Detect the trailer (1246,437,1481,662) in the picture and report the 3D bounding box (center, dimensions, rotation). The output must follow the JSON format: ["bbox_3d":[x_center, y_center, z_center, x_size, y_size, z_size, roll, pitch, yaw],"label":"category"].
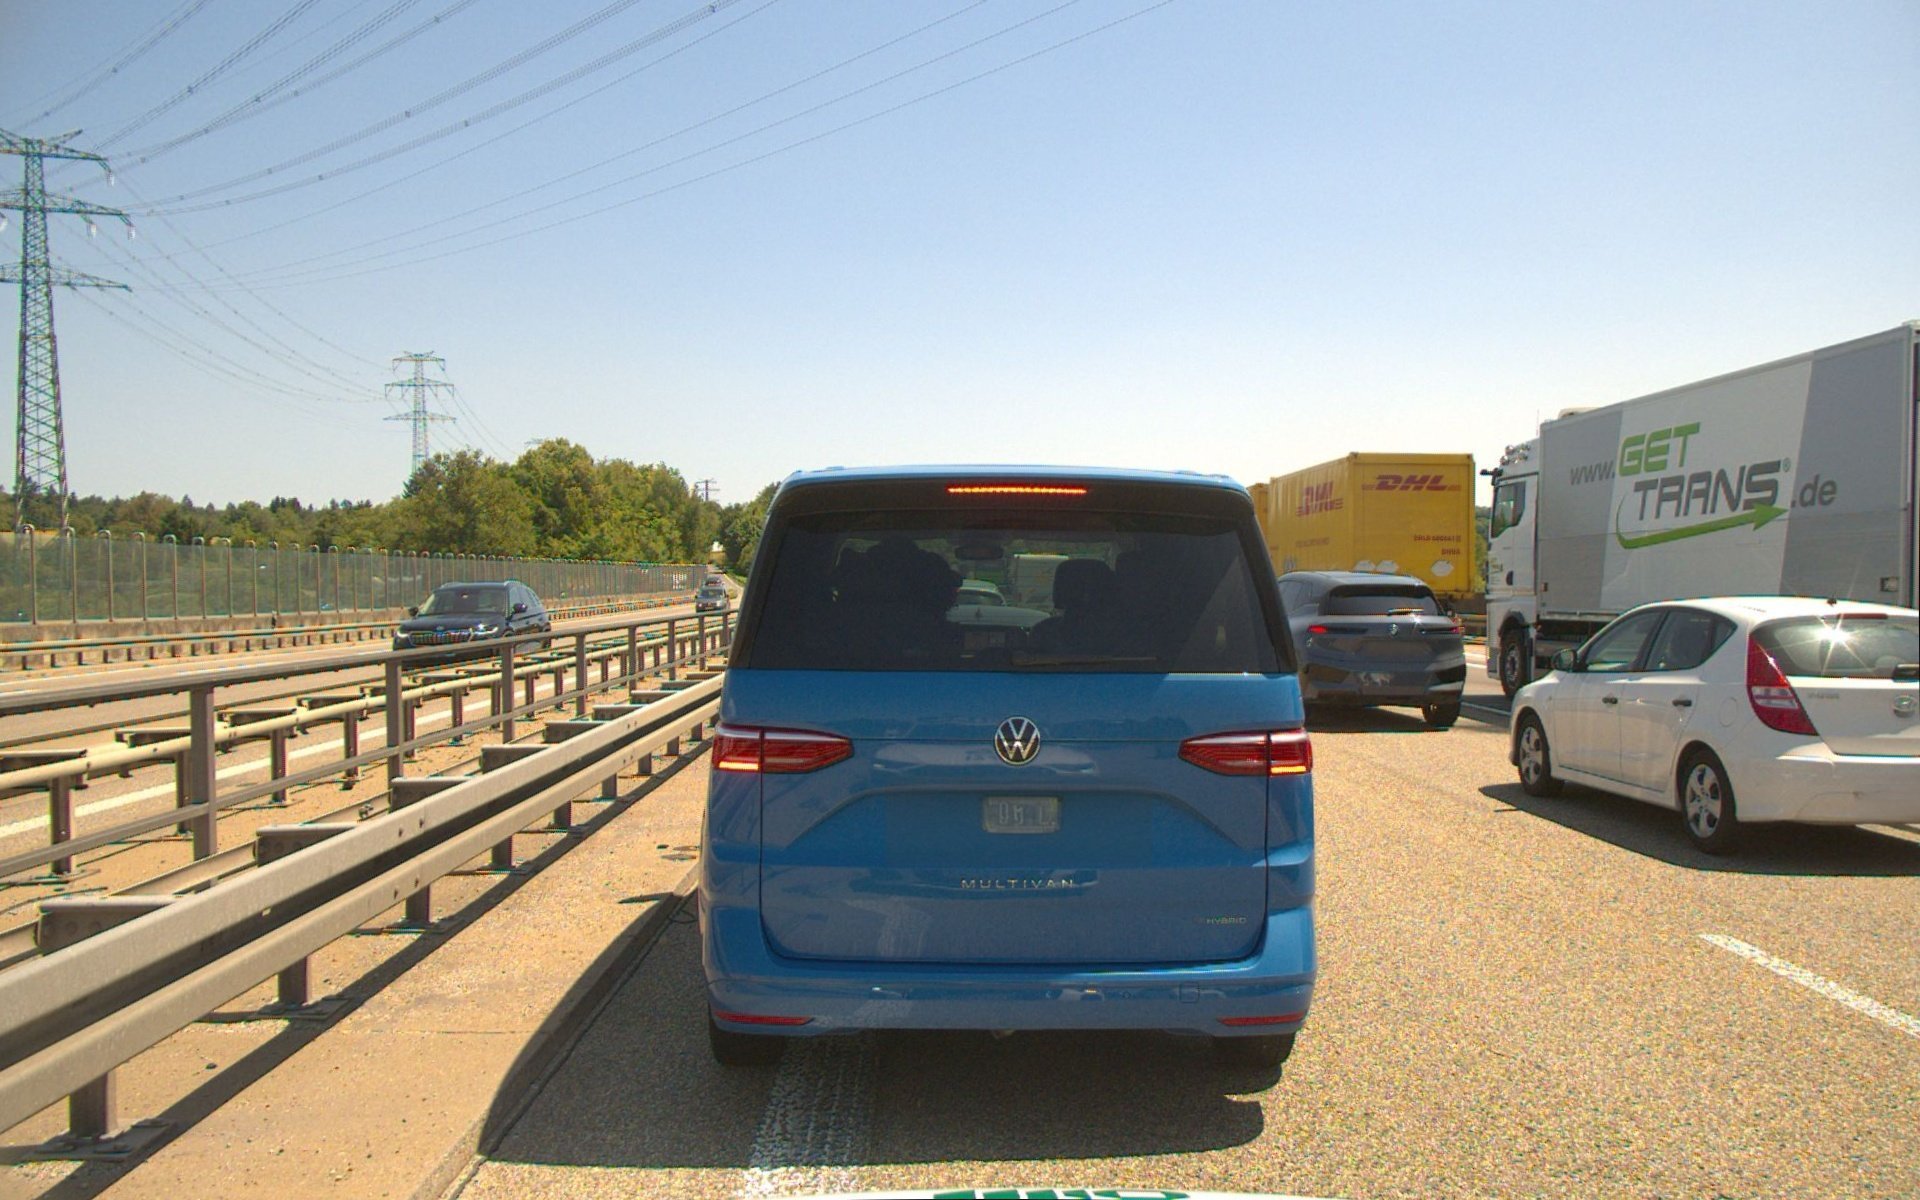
[{"bbox_3d":[8.583,-0.978,36.478,2.806,4.313,9.010,1,0,-1],"label":"trailer"}]

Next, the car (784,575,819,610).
[{"bbox_3d":[-10.367,-0.509,108.697,1.825,2.168,4.268,-3,0,0],"label":"car"}]

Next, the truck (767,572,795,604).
[{"bbox_3d":[-19.625,-1.299,181.552,2.447,3.424,5.833,-2,0,-1],"label":"truck"}]

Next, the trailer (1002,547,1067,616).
[{"bbox_3d":[3.473,-0.817,79.381,2.517,3.042,10.661,1,0,-1],"label":"trailer"}]

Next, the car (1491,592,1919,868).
[{"bbox_3d":[5.148,0.692,11.086,1.752,1.481,4.292,0,0,-1],"label":"car"}]

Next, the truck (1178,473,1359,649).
[{"bbox_3d":[8.377,-1.000,46.496,2.778,4.317,11.008,1,0,-1],"label":"truck"}]

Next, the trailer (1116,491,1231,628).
[{"bbox_3d":[7.761,-1.414,61.560,2.583,4.595,11.299,1,0,-1],"label":"trailer"}]

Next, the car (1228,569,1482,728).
[{"bbox_3d":[4.510,0.492,19.585,1.922,1.673,4.292,0,0,-1],"label":"car"}]

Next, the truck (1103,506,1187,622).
[{"bbox_3d":[7.656,-1.421,69.051,2.613,4.562,6.848,1,0,-1],"label":"truck"}]

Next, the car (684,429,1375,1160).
[{"bbox_3d":[0.163,0.506,6.372,1.783,1.890,4.074,1,0,-1],"label":"car"}]

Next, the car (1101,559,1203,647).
[{"bbox_3d":[4.625,0.063,40.309,1.922,2.028,4.292,0,0,-1],"label":"car"}]

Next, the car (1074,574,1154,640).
[{"bbox_3d":[4.497,0.178,48.872,1.953,1.847,3.999,0,0,-1],"label":"car"}]

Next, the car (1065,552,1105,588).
[{"bbox_3d":[7.207,-1.719,95.815,1.953,2.049,4.460,-1,0,-1],"label":"car"}]

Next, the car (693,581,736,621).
[{"bbox_3d":[-14.540,0.037,98.183,1.953,2.254,4.267,-3,0,-1],"label":"car"}]

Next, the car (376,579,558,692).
[{"bbox_3d":[-8.403,0.541,28.632,1.829,1.729,4.429,-3,1,-1],"label":"car"}]

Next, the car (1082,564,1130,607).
[{"bbox_3d":[7.217,-0.699,81.882,1.953,2.049,3.999,1,0,-1],"label":"car"}]

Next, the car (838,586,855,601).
[{"bbox_3d":[-12.379,-0.704,180.979,1.586,1.489,3.701,-2,0,-1],"label":"car"}]

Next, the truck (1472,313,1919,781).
[{"bbox_3d":[8.801,-0.469,18.386,2.603,3.711,11.008,0,0,-1],"label":"truck"}]
